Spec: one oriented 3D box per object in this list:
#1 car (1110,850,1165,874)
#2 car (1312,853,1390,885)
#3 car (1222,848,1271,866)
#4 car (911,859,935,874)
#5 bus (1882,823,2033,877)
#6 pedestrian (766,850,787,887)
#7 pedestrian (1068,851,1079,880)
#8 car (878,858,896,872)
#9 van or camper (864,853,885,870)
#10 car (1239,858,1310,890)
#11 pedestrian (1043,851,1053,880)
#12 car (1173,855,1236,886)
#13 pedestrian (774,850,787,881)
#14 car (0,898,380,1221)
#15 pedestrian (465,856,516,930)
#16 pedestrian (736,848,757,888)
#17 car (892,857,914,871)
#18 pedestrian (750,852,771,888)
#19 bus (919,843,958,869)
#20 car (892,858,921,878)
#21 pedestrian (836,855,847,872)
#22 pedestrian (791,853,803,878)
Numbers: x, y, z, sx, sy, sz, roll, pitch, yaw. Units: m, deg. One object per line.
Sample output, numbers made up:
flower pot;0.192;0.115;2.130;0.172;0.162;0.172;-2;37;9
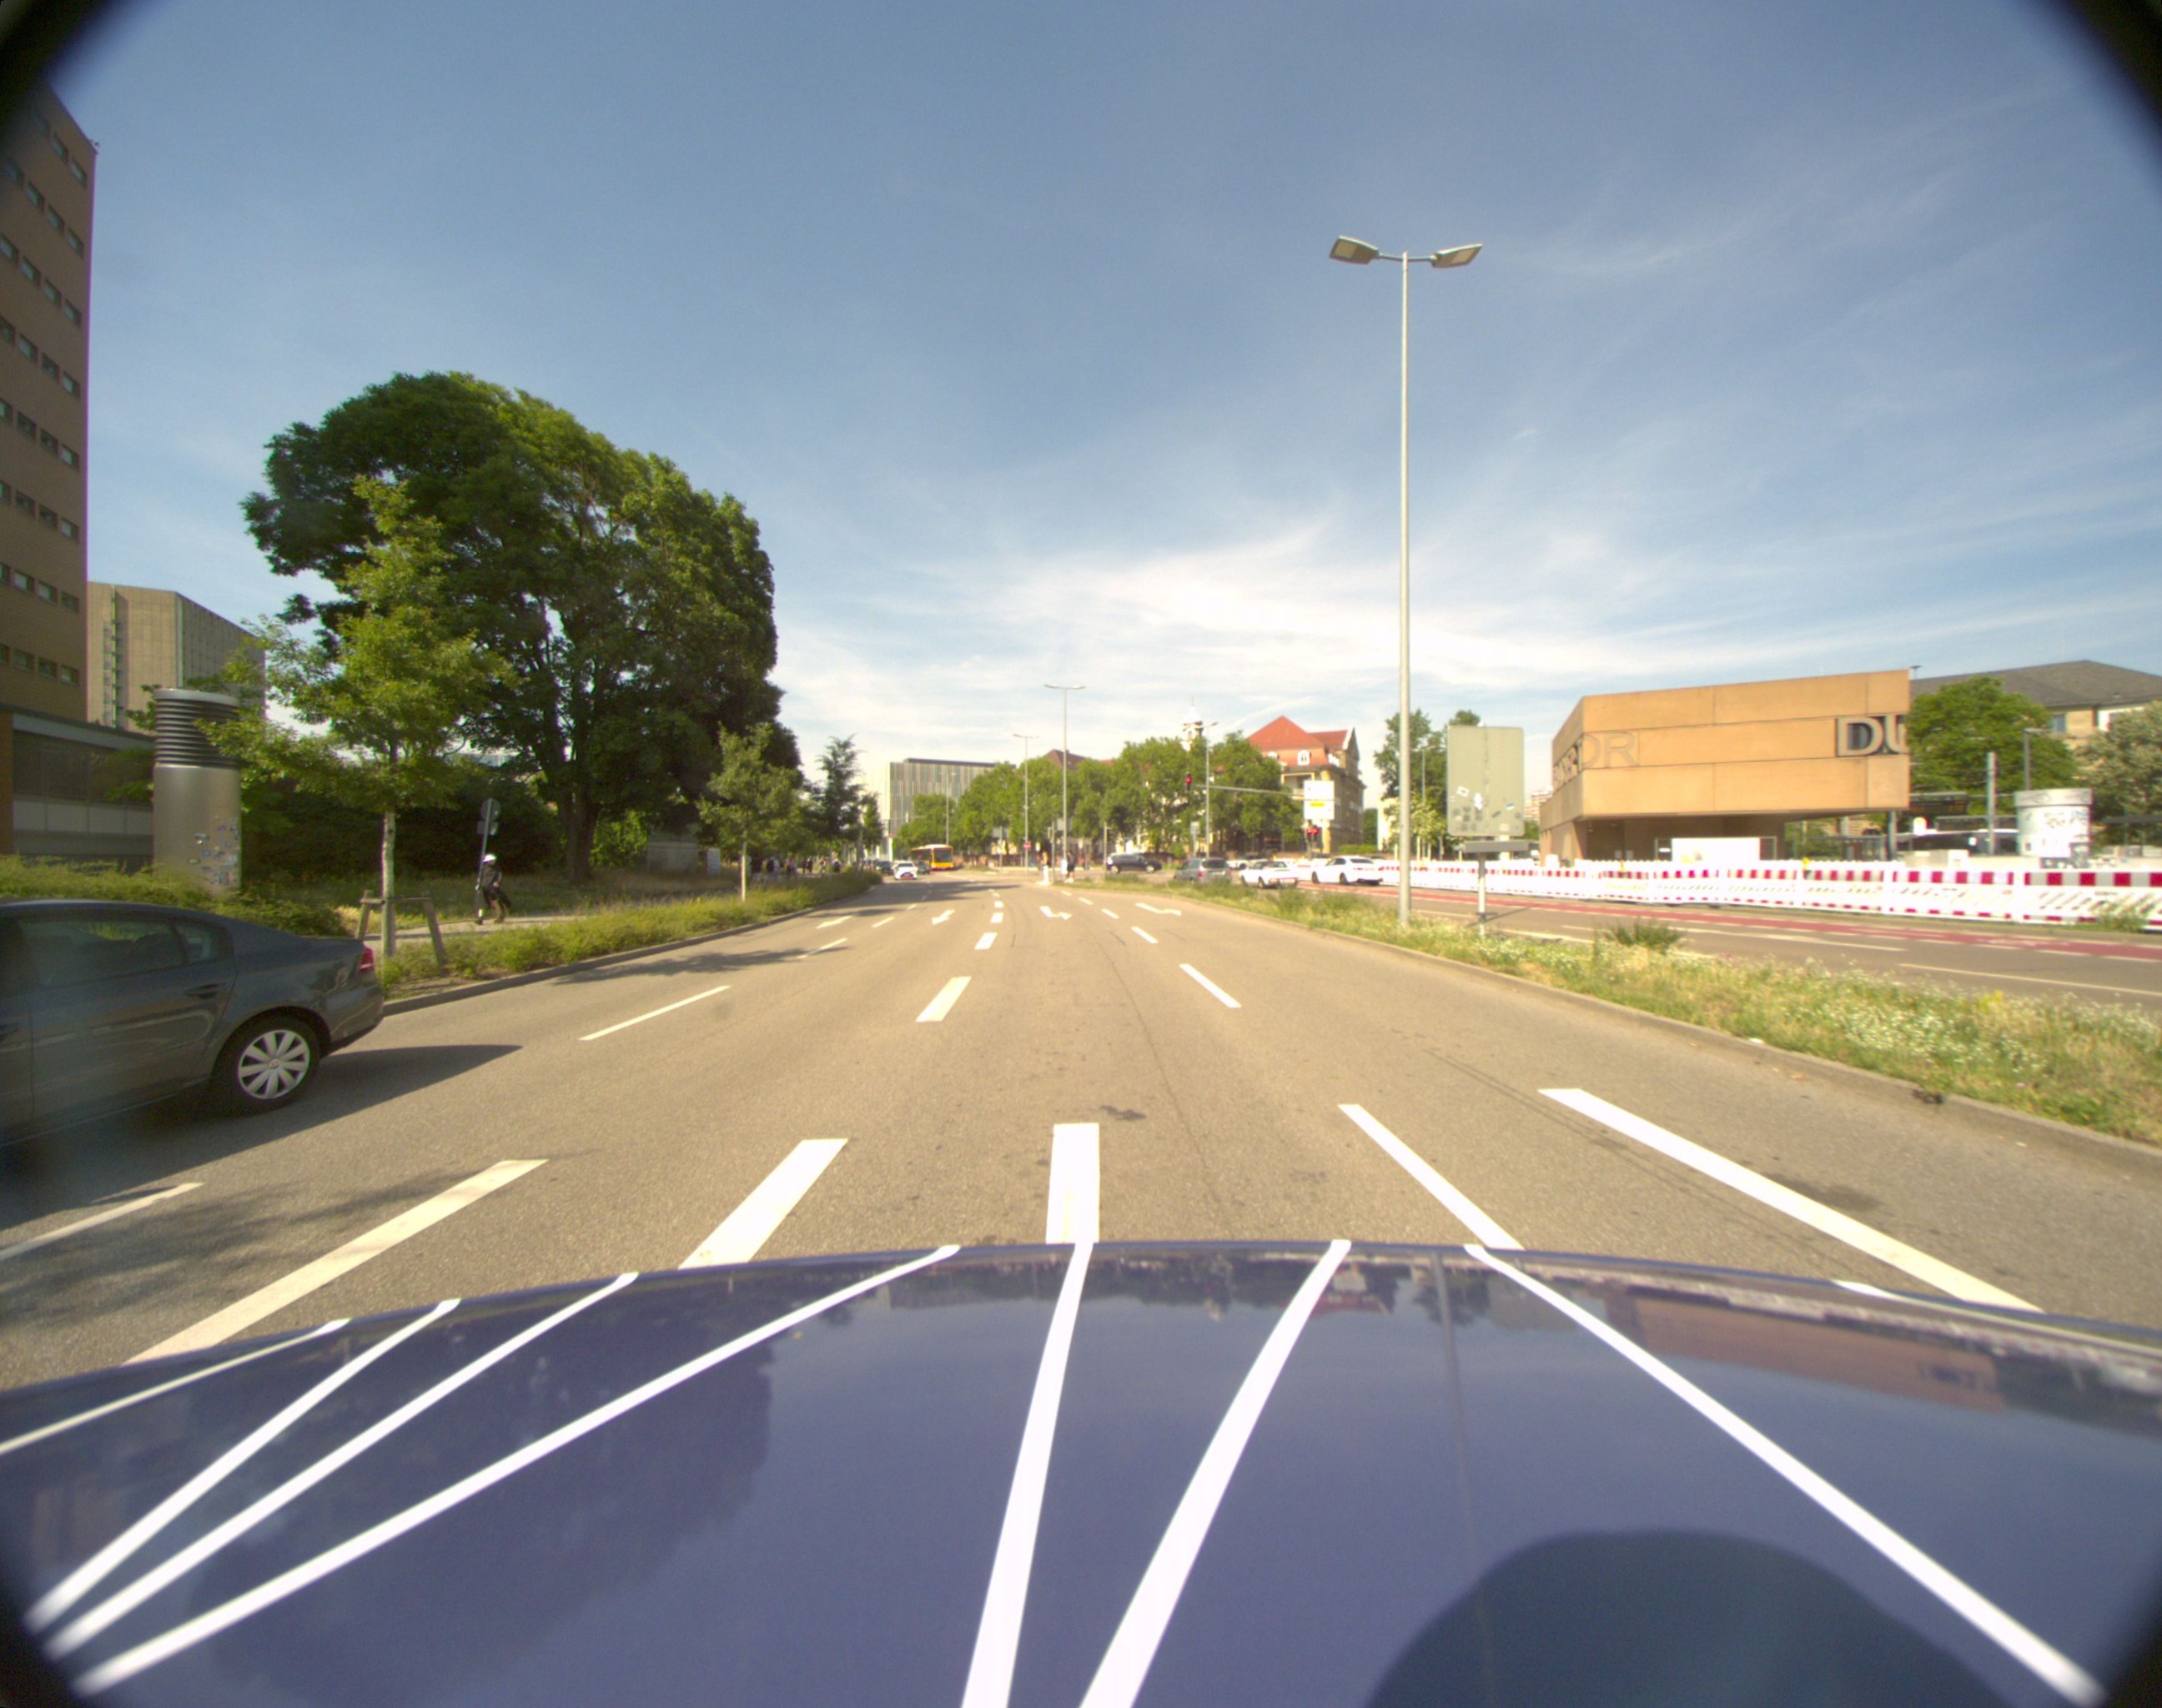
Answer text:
car;4.515;0.609;60.414;4.106;1.719;1.761;-2;1;12
car;13.115;0.687;37.120;1.804;1.412;3.996;-2;1;-10
car;15.020;0.274;68.926;4.117;1.435;1.756;-3;1;-24
car;-15.949;1.234;76.526;1.653;1.416;4.112;-3;1;-22
bus;59.549;-0.234;52.132;2.751;3.303;11.811;0;0;28
pedestrian;-14.136;0.658;35.314;0.643;1.664;0.752;1;1;1
pedestrian;-0.445;0.648;44.384;0.643;1.664;0.752;0;0;0
car;-19.097;1.081;74.569;1.411;1.287;3.575;0;0;-19
van or camper;-23.374;0.851;85.875;1.732;1.876;4.913;0;0;-21
car;8.794;0.887;34.868;1.600;1.279;3.996;-2;1;-10
pedestrian;-1.881;0.657;43.764;0.541;1.664;0.752;0;0;1
car;5.658;0.738;35.236;1.600;1.279;3.996;-2;1;-10
pedestrian;-17.183;0.680;43.471;0.644;1.754;0.474;1;1;-20
car;-6.066;1.086;3.404;1.635;1.427;4.528;-1;1;-1
pedestrian;-13.691;0.889;17.628;0.592;1.654;0.731;1;1;1
pedestrian;-15.366;0.636;34.930;0.643;1.827;0.731;1;1;1
car;-19.980;1.109;85.229;1.653;1.416;4.112;-3;1;-22
pedestrian;-14.714;0.714;34.935;0.643;1.617;0.731;1;1;1
bus;-17.631;0.222;93.351;2.799;3.020;12.128;0;0;-19
car;-13.795;1.070;60.025;1.684;1.466;3.753;-3;1;-21
pedestrian;-16.345;0.668;51.822;0.644;1.125;0.751;1;1;-15
pedestrian;-16.375;0.657;43.796;0.644;1.438;0.568;1;1;-20
